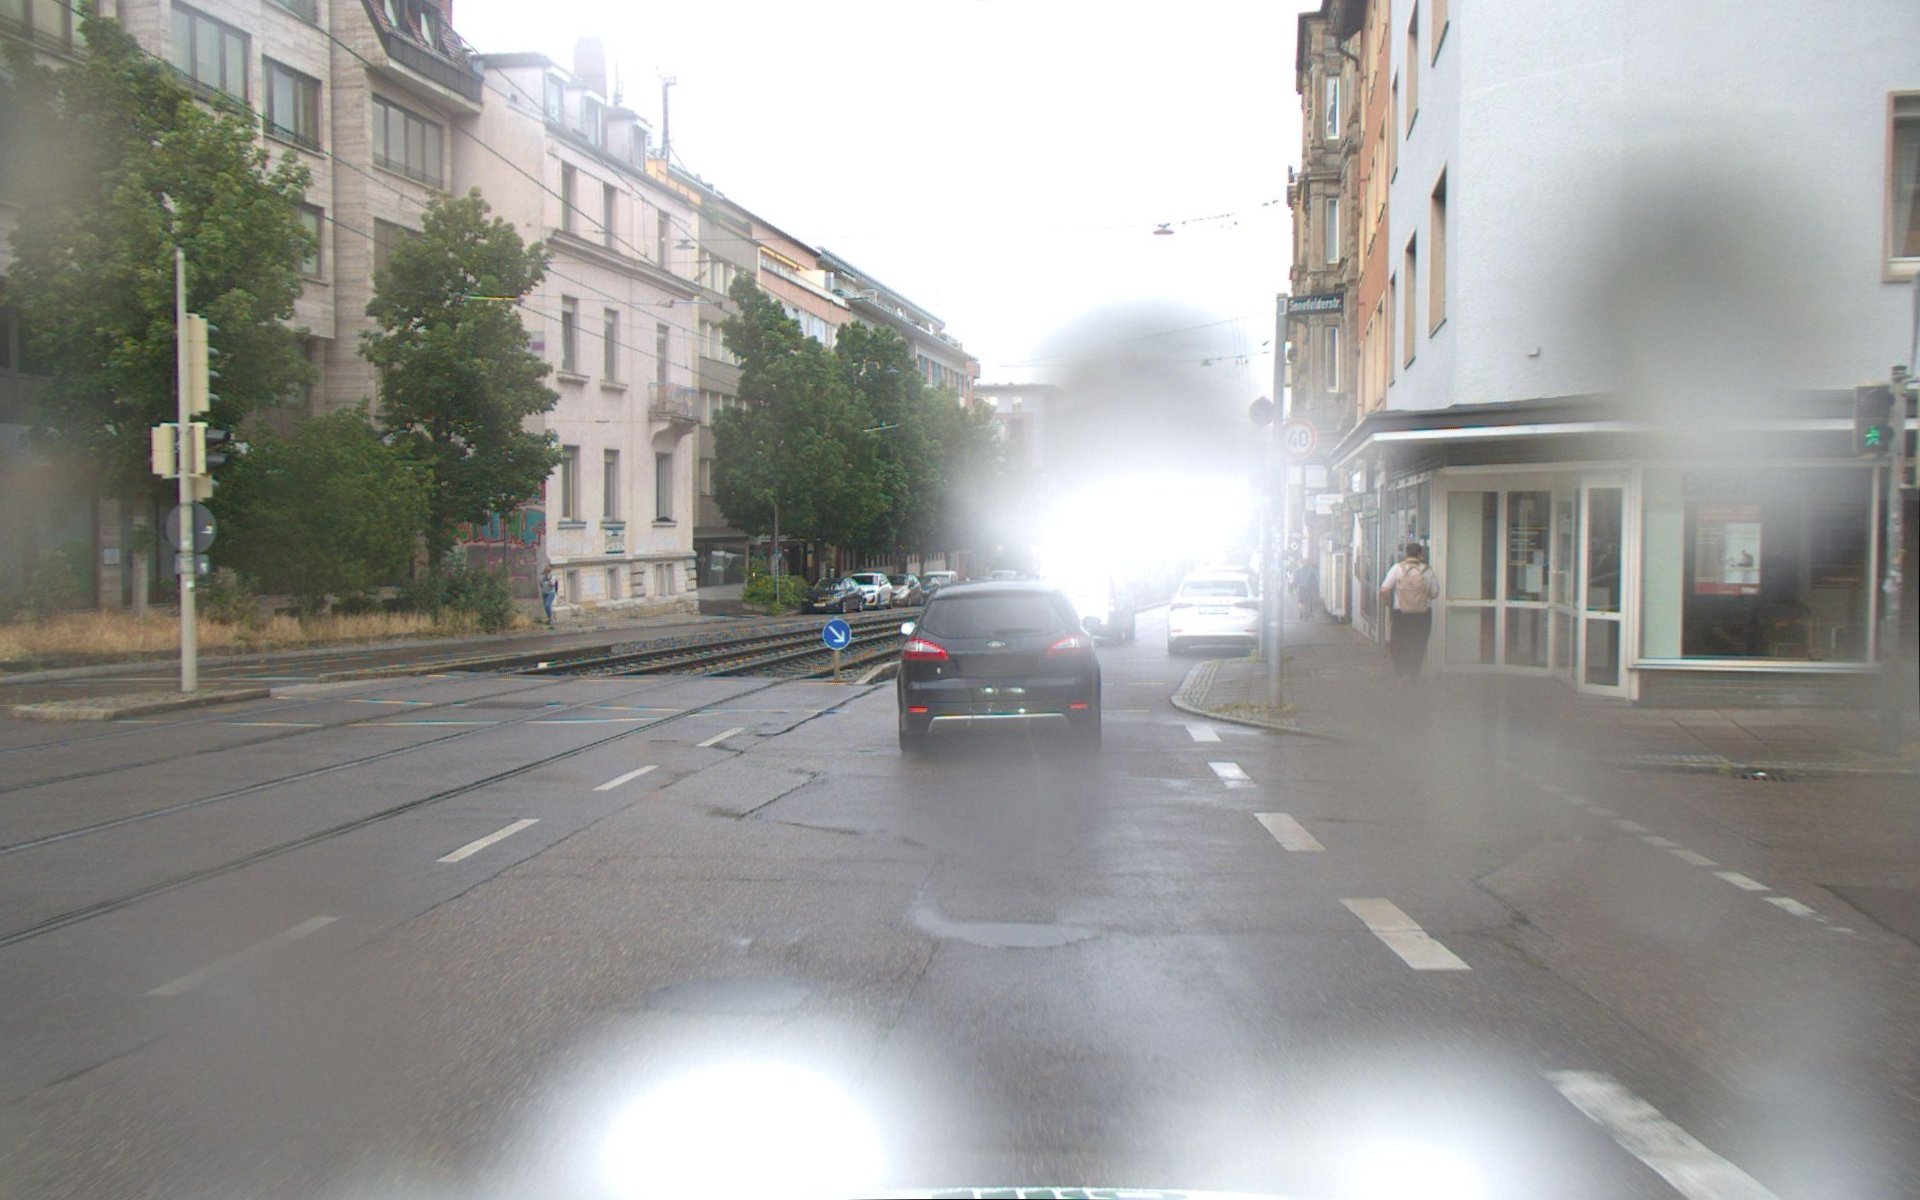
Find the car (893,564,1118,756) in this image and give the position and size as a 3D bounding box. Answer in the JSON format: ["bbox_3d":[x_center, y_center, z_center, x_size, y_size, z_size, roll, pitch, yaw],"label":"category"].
[{"bbox_3d":[0.396,0.487,15.486,1.804,1.533,4.000,-1,0,1],"label":"car"}]

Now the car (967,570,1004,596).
[{"bbox_3d":[1.661,-1.047,104.772,1.632,1.585,4.049,0,0,11],"label":"car"}]

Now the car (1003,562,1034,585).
[{"bbox_3d":[4.296,-1.952,120.579,1.658,1.601,4.049,0,0,11],"label":"car"}]

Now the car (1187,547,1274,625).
[{"bbox_3d":[6.234,-0.309,37.809,1.806,1.661,4.590,0,0,11],"label":"car"}]

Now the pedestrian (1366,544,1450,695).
[{"bbox_3d":[4.856,0.205,17.969,0.674,1.599,0.763,-1,0,0],"label":"pedestrian"}]

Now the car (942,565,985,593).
[{"bbox_3d":[0.245,-1.219,97.704,1.816,1.553,4.049,0,0,11],"label":"car"}]

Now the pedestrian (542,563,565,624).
[{"bbox_3d":[-11.532,-0.184,46.942,0.458,1.681,0.582,2,0,-1],"label":"pedestrian"}]

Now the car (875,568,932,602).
[{"bbox_3d":[-2.732,-0.718,80.976,1.816,1.575,4.435,0,0,11],"label":"car"}]

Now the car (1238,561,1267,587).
[{"bbox_3d":[17.023,-1.513,96.275,1.635,1.446,3.479,-1,1,11],"label":"car"}]

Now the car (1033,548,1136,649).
[{"bbox_3d":[2.829,-0.094,36.650,1.946,2.096,4.650,0,2,8],"label":"car"}]

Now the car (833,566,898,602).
[{"bbox_3d":[-4.205,-0.709,74.476,1.816,1.575,4.725,0,0,11],"label":"car"}]

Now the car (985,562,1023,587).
[{"bbox_3d":[3.050,-1.753,113.952,1.816,1.665,4.939,0,0,11],"label":"car"}]

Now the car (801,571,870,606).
[{"bbox_3d":[-5.120,-0.453,68.688,1.657,1.401,4.725,0,0,11],"label":"car"}]

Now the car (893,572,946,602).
[{"bbox_3d":[-2.073,-0.670,86.062,1.816,1.443,4.435,-2,0,11],"label":"car"}]

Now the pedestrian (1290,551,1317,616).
[{"bbox_3d":[10.181,-0.496,49.088,0.688,1.850,0.962,-3,2,11],"label":"pedestrian"}]

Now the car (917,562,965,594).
[{"bbox_3d":[-1.011,-1.196,91.980,1.816,1.730,4.435,0,0,11],"label":"car"}]

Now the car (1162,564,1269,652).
[{"bbox_3d":[4.853,0.134,30.992,1.763,1.481,4.590,-1,0,11],"label":"car"}]
